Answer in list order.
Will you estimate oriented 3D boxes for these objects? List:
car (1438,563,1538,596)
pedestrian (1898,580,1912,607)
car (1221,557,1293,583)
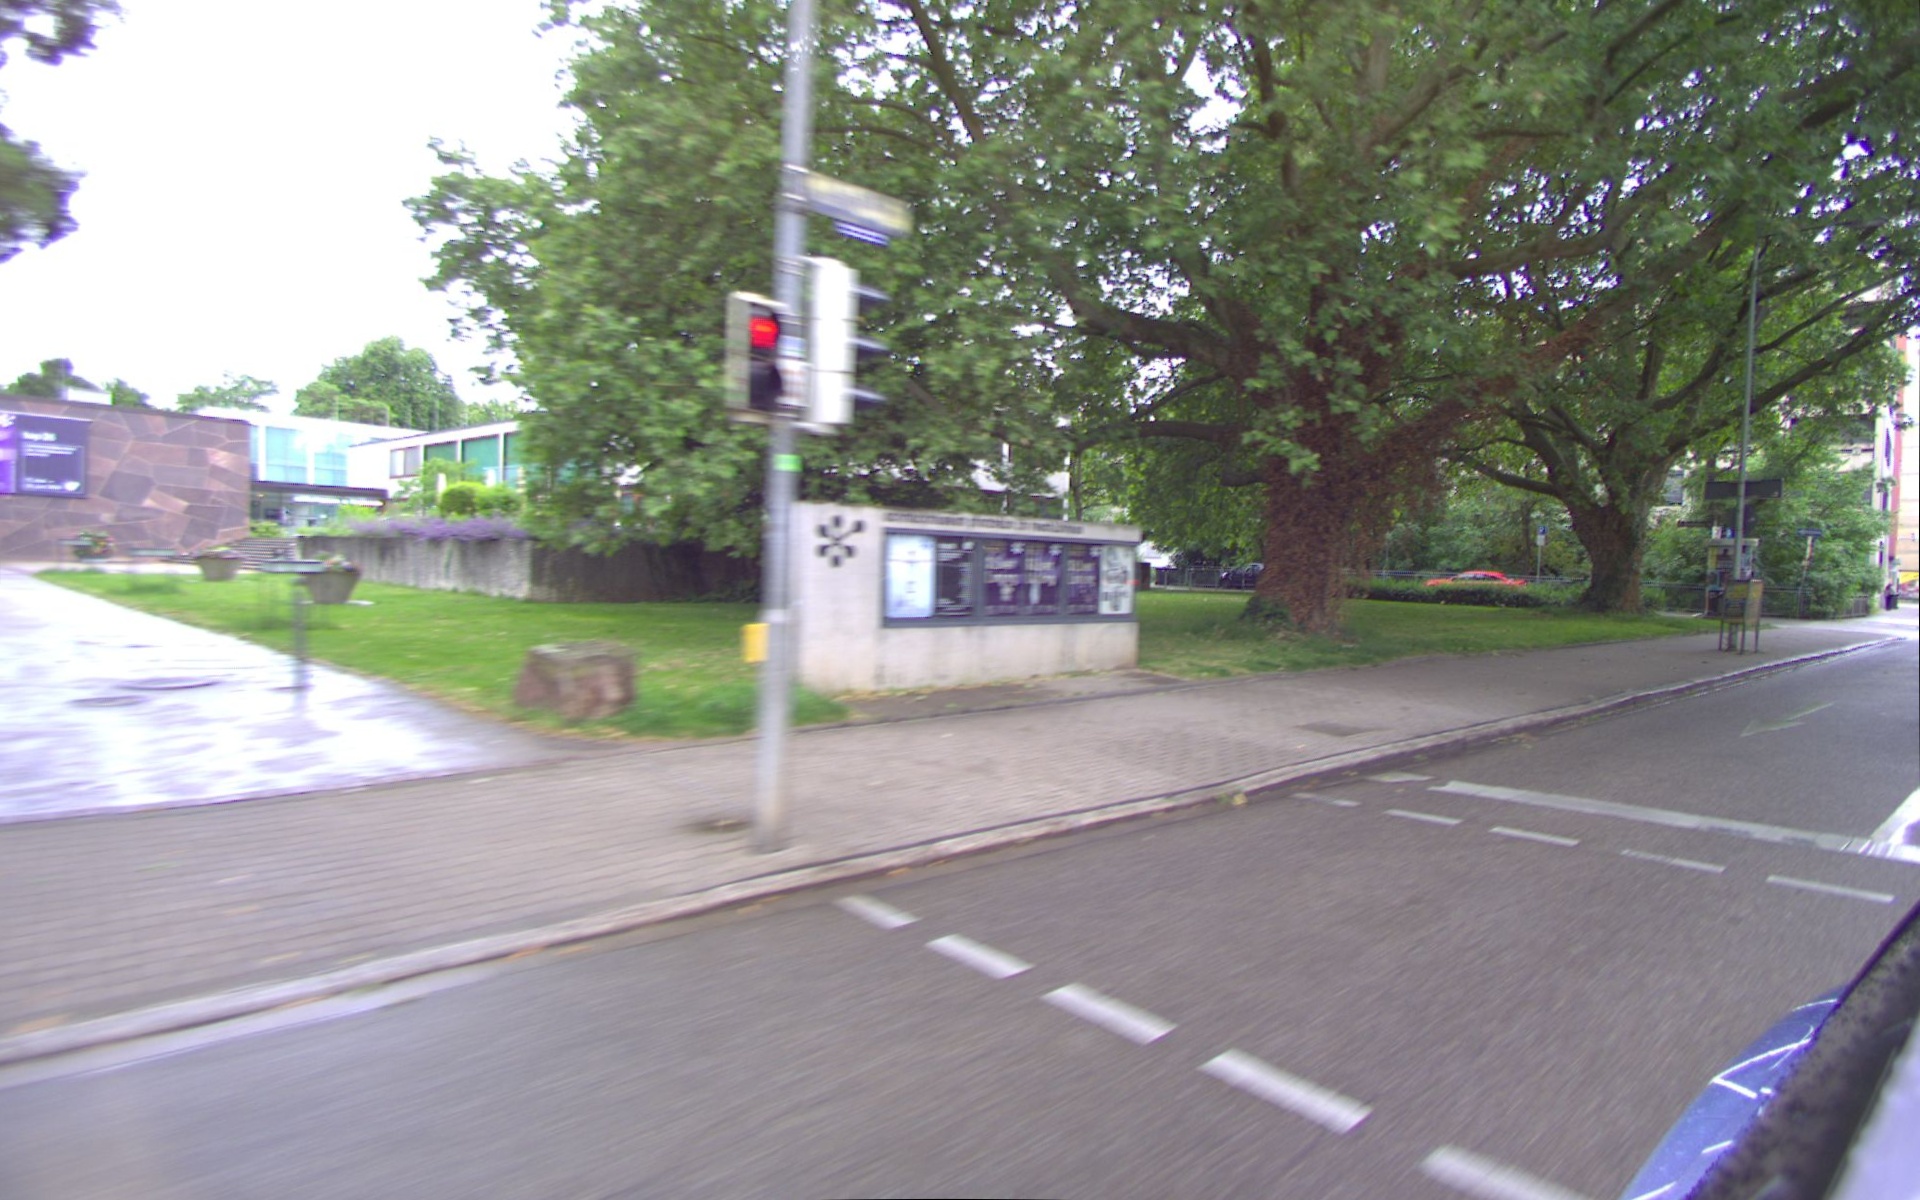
[{"bbox_3d":[24.219,-0.970,46.516,3.778,1.293,1.553,5,4,42],"label":"car"},{"bbox_3d":[55.657,-0.370,59.584,0.473,1.548,0.480,0,3,-41],"label":"pedestrian"},{"bbox_3d":[16.018,-1.642,54.741,3.460,1.293,1.426,5,4,44],"label":"car"}]
